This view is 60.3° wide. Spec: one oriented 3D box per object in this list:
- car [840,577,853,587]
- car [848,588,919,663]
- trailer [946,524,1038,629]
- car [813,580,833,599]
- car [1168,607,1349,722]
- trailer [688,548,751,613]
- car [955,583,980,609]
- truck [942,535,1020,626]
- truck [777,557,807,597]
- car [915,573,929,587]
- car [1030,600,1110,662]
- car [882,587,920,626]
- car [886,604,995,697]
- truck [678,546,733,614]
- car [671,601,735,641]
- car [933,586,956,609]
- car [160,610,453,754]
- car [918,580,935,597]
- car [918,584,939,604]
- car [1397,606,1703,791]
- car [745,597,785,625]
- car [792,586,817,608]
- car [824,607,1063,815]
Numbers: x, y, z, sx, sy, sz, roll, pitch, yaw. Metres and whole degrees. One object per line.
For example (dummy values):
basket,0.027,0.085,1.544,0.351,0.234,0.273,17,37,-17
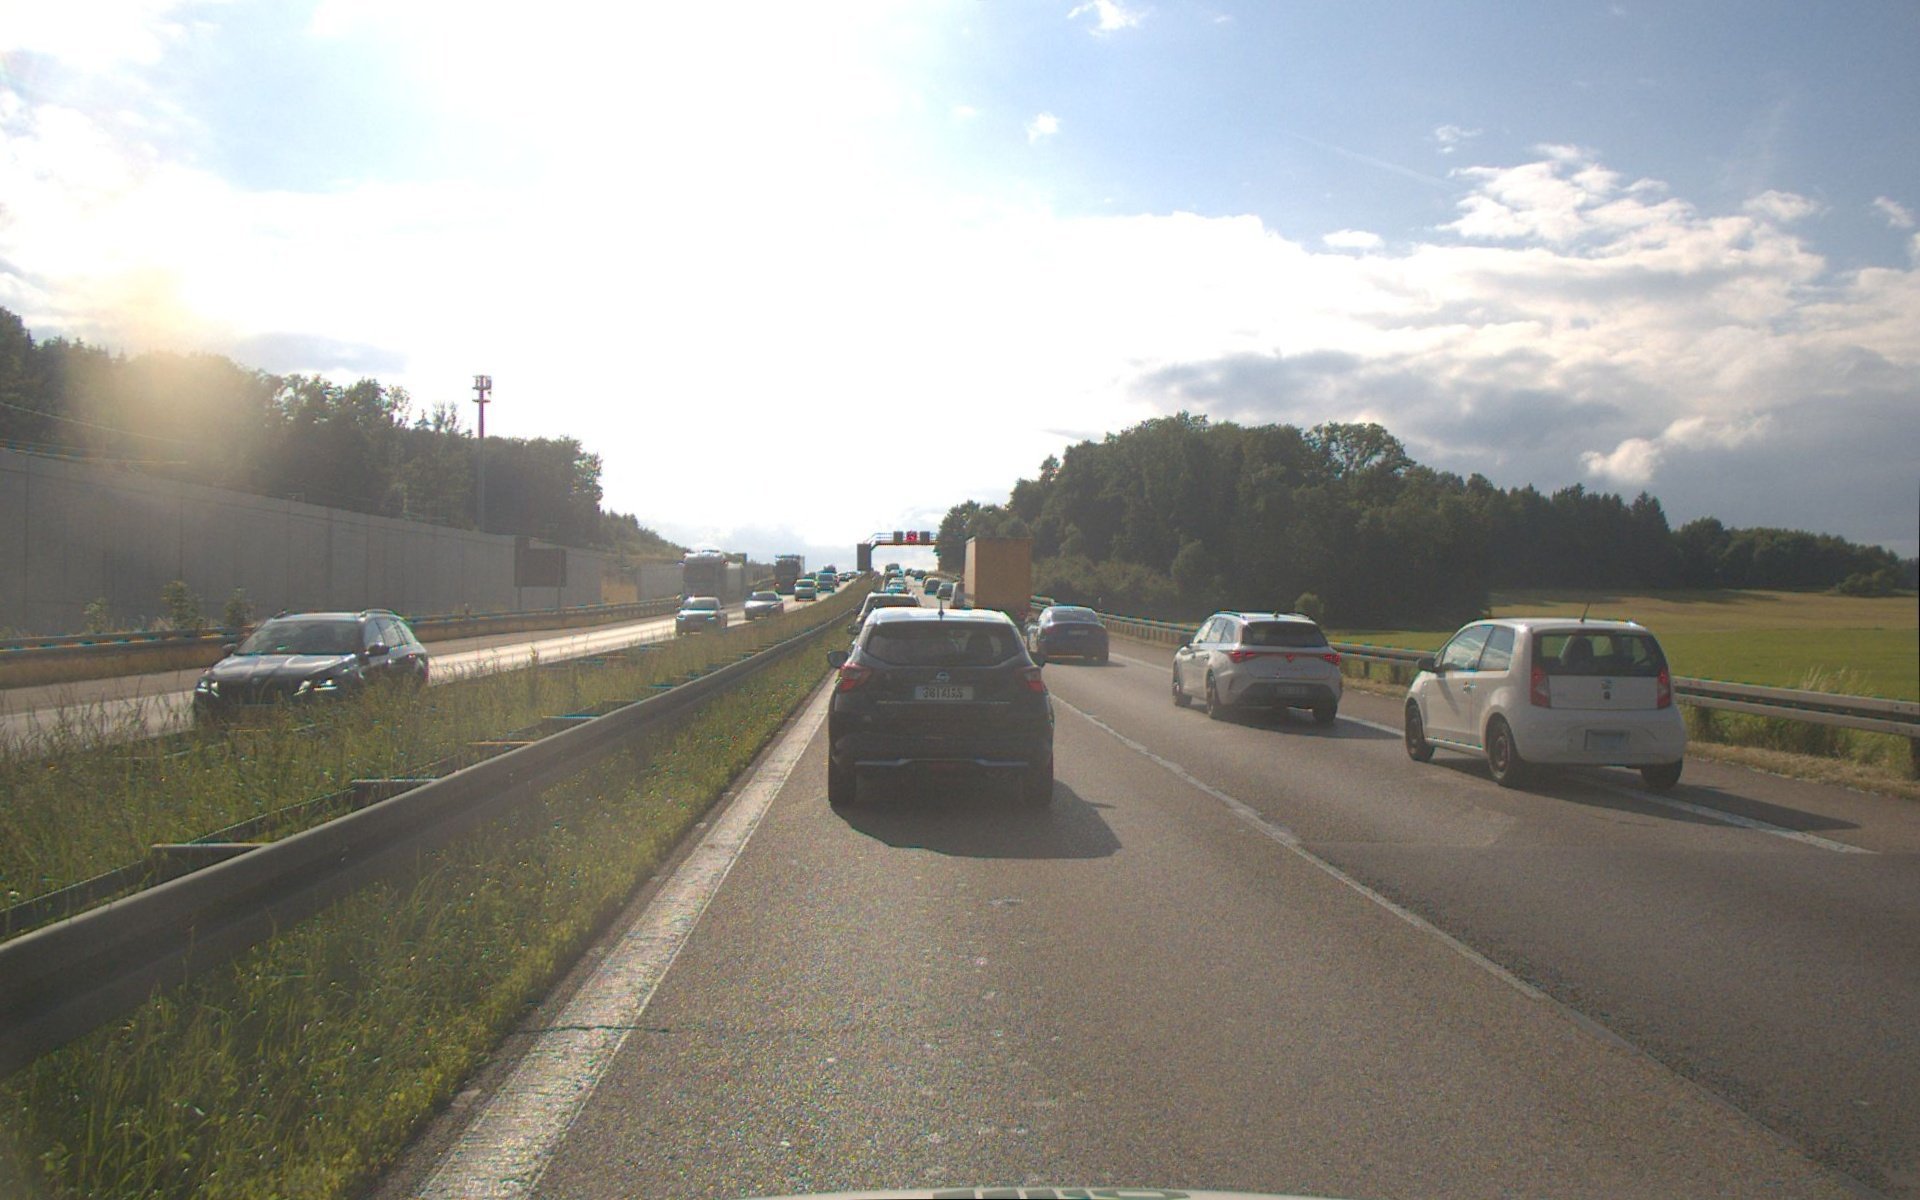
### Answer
car,-17.591,-2.803,256.270,1.864,1.490,4.181,1,-1,-3
car,-1.867,0.619,41.065,1.640,1.756,3.595,1,-1,-1
trailer,1.354,-0.962,78.527,3.478,4.535,12.714,1,-1,-3
car,-14.921,-1.170,180.460,1.953,1.916,4.785,-2,-1,-2
car,4.141,0.855,23.551,1.588,1.471,4.143,1,-1,-4
trailer,-15.270,-1.103,105.887,2.489,3.837,12.536,-1,-1,-1
car,0.523,-0.255,116.435,1.633,1.785,3.326,1,-1,-1
truck,0.993,-0.930,85.146,3.510,4.456,6.684,1,-1,-3
truck,-18.010,-2.401,177.228,2.698,4.162,6.950,0,-1,-2
car,-5.851,-3.042,255.077,1.954,2.049,3.997,1,-1,-3
car,2.798,0.791,42.869,1.712,1.501,4.145,1,-1,-1
car,-3.202,0.353,89.116,1.954,2.049,3.997,1,-1,-3
car,-0.338,0.784,26.950,1.640,1.391,3.595,1,-1,-1
truck,-15.175,-1.149,98.796,2.501,3.865,5.415,-1,-1,-2
car,-10.282,0.847,66.484,1.953,1.512,4.397,1,-1,-1
car,-1.487,-0.230,154.422,1.954,2.049,3.997,1,-1,-3
car,-7.807,0.909,20.264,1.806,1.534,4.549,1,-1,-1
car,-4.154,-1.403,202.462,1.954,2.049,3.997,1,-1,-3
car,-3.287,-0.613,172.166,1.954,2.049,3.997,1,-1,-3
car,5.468,0.850,15.746,1.518,1.521,3.375,1,0,-4
car,-10.924,0.619,93.063,1.767,1.543,4.689,1,-1,-1
car,-13.695,-0.213,145.952,1.822,1.866,4.279,1,-1,-2
car,-0.134,0.809,13.467,1.675,1.451,3.377,1,-1,-1
